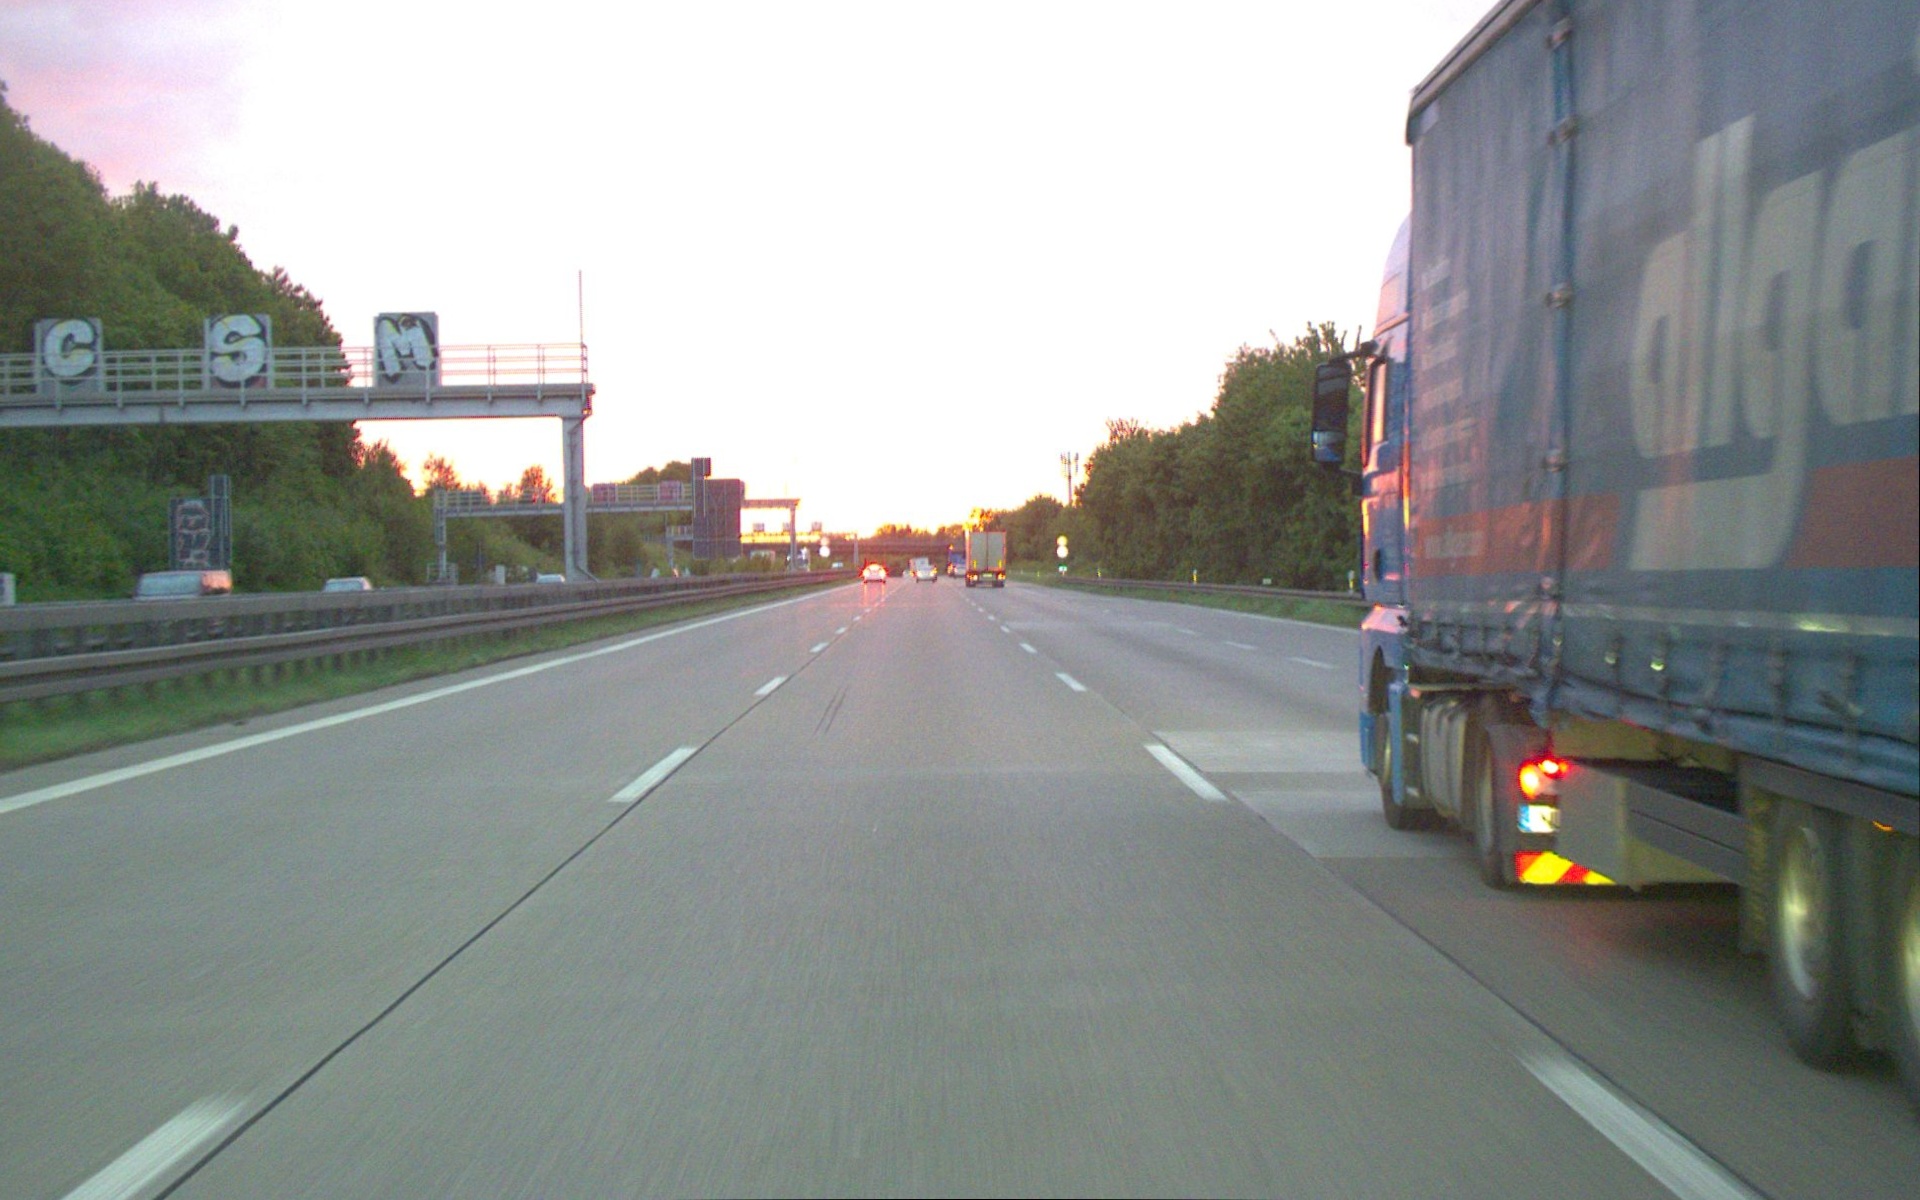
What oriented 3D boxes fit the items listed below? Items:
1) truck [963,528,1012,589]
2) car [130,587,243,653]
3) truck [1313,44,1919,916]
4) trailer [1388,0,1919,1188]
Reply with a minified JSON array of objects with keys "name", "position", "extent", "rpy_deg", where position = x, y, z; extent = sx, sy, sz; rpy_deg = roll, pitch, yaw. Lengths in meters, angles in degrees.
[{"name":"truck","position":[1.914,-2.878,239.270],"extent":[3.244,4.113,9.786],"rpy_deg":[-1,0,0]},{"name":"car","position":[-21.351,0.518,95.083],"extent":[1.848,1.728,5.661],"rpy_deg":[0,0,0]},{"name":"truck","position":[3.631,-0.568,18.636],"extent":[2.736,3.983,5.849],"rpy_deg":[0,0,-1]},{"name":"trailer","position":[3.721,-0.613,11.345],"extent":[2.771,4.072,13.740],"rpy_deg":[0,0,-1]}]
